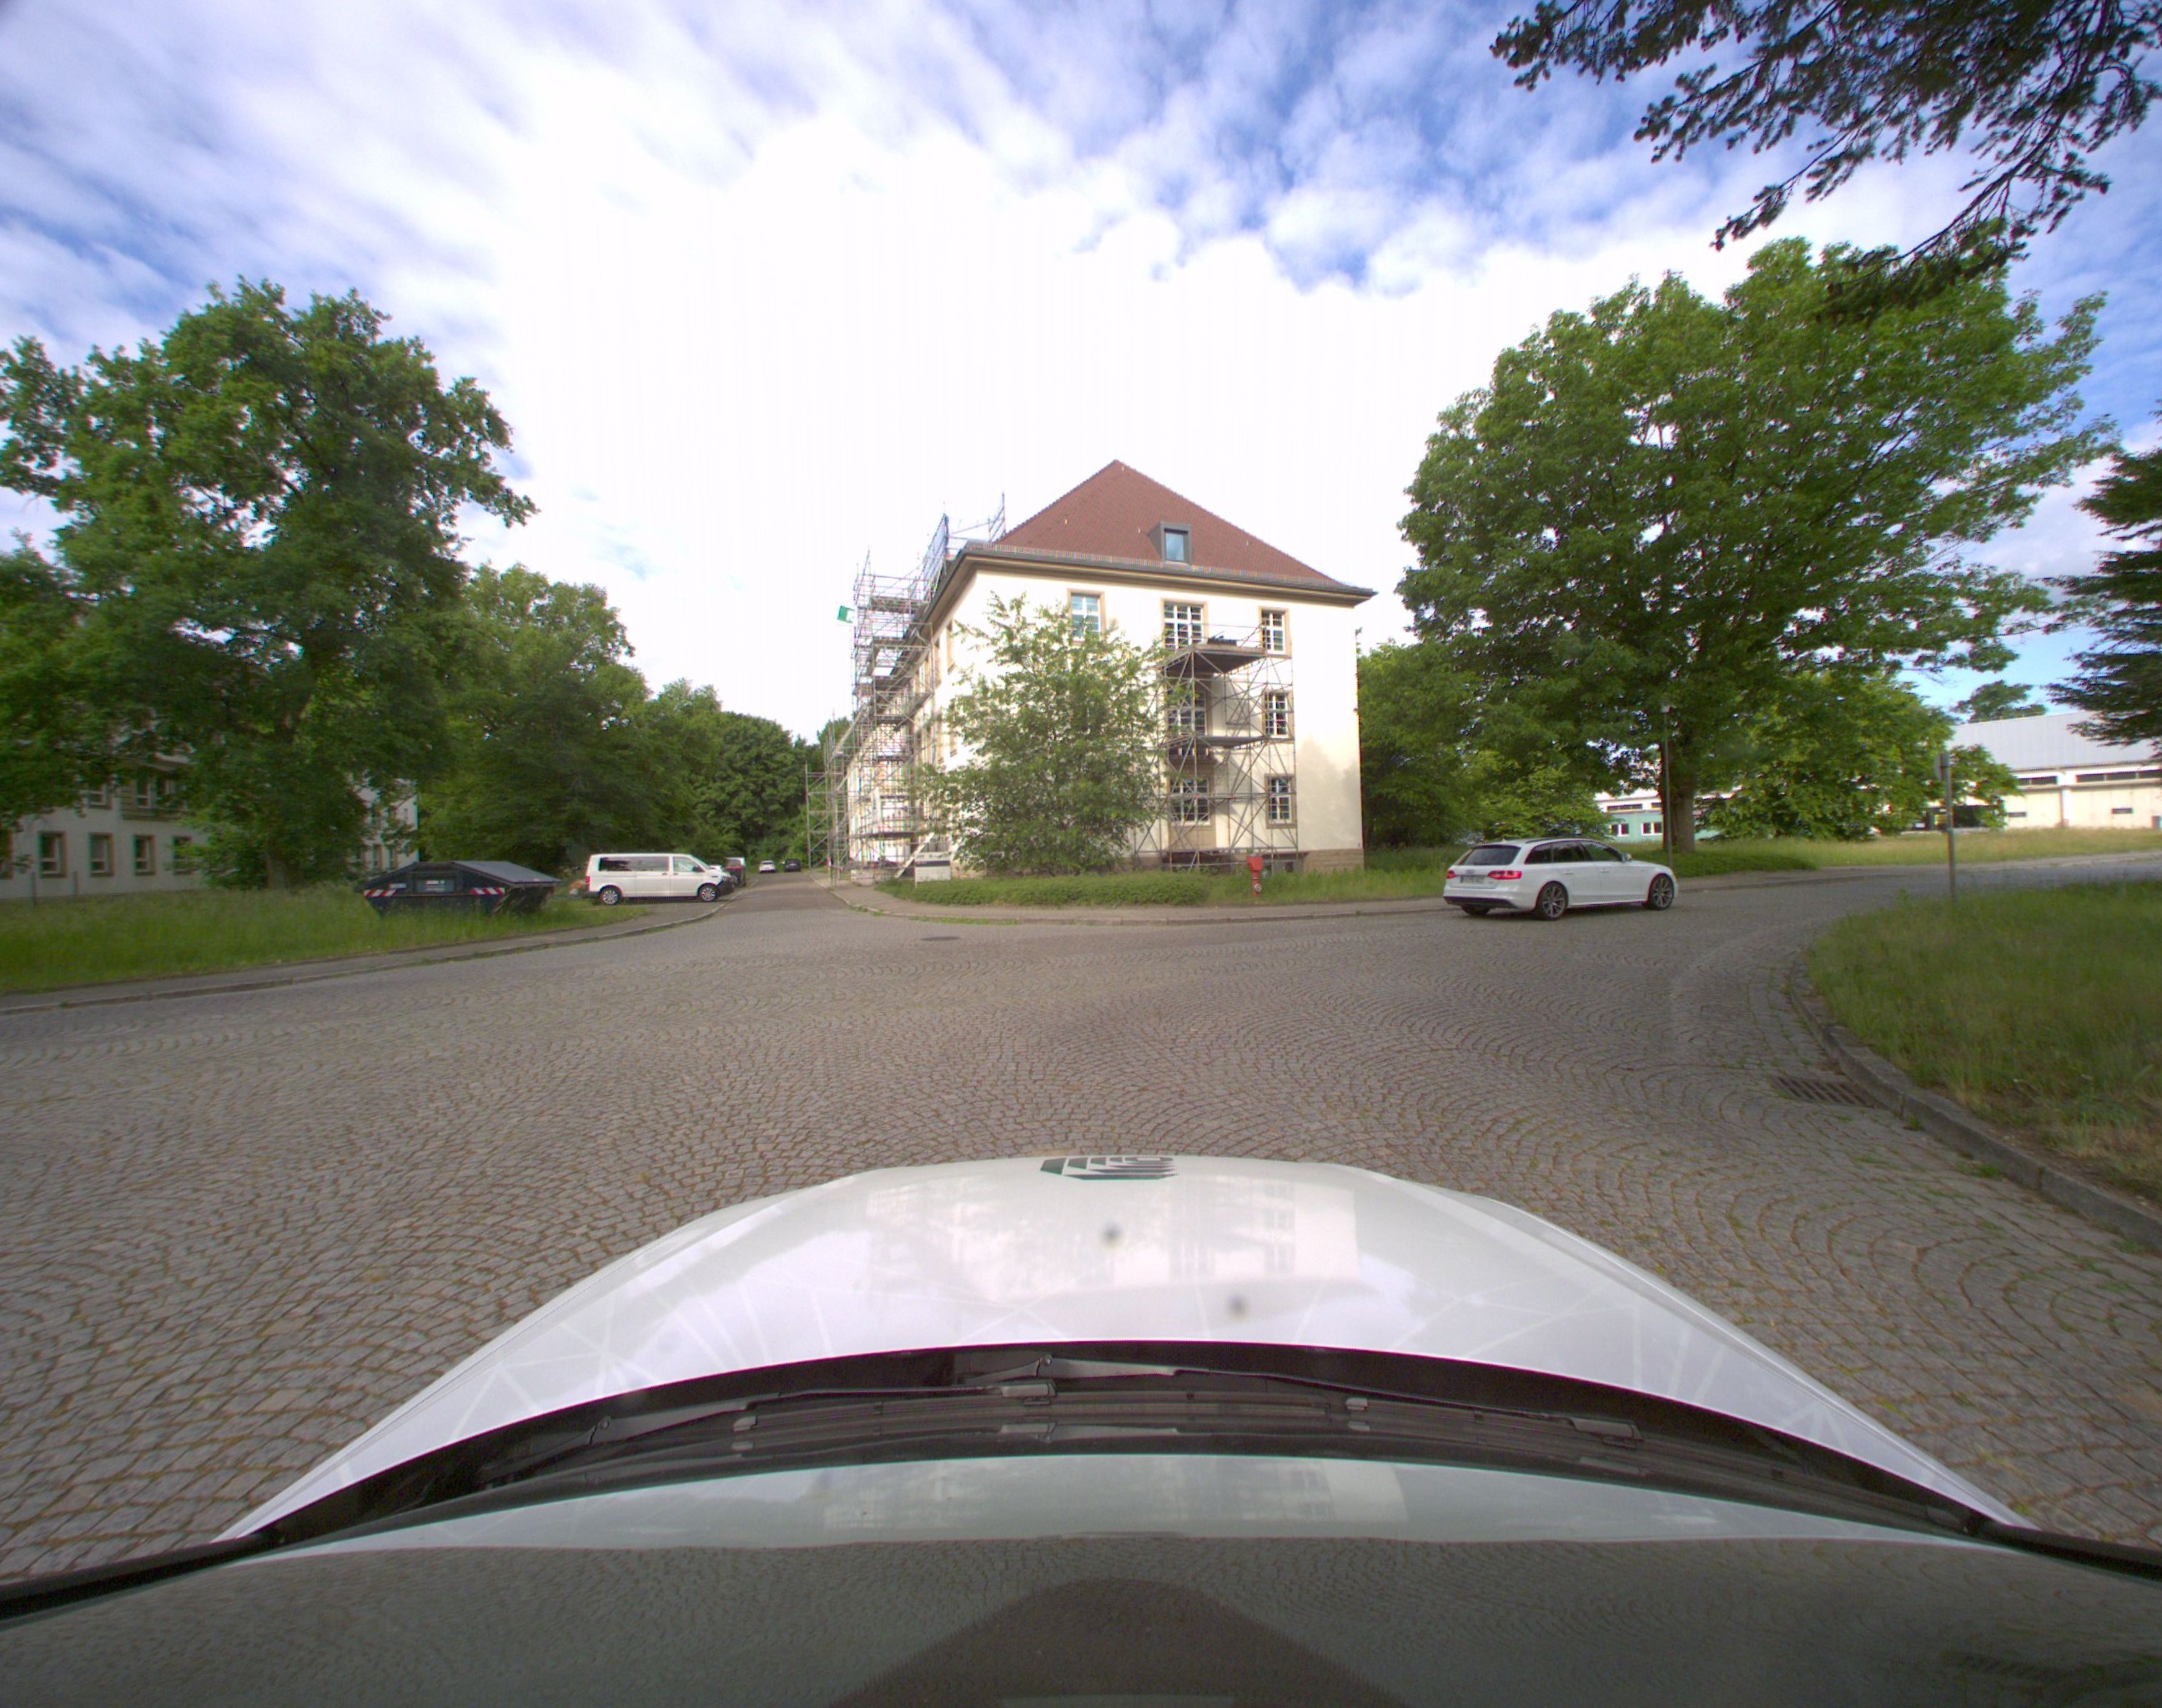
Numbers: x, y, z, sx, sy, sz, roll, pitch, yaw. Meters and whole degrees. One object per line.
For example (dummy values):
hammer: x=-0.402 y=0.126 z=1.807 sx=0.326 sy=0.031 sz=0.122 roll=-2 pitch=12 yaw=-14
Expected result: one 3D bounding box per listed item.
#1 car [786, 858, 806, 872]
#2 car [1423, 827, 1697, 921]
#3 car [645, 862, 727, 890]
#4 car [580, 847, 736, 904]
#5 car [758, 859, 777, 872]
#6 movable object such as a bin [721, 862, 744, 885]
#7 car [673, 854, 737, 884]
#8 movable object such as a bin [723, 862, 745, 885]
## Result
car: x=-33.527 y=1.284 z=96.011 sx=2.068 sy=1.593 sz=3.976 roll=1 pitch=-1 yaw=-17
car: x=8.880 y=0.316 z=15.104 sx=4.708 sy=1.437 sz=1.841 roll=-2 pitch=-1 yaw=-21
car: x=-21.231 y=1.198 z=43.906 sx=3.631 sy=1.481 sz=1.813 roll=0 pitch=-2 yaw=-12
car: x=-16.488 y=0.818 z=32.132 sx=5.220 sy=2.060 sz=2.172 roll=-1 pitch=-1 yaw=-21
car: x=-36.445 y=1.345 z=94.624 sx=2.010 sy=1.548 sz=3.928 roll=1 pitch=-2 yaw=-23
movable object such as a bin: x=-21.329 y=1.191 z=49.858 sx=1.187 sy=1.407 sz=0.969 roll=1 pitch=-2 yaw=-20
car: x=-26.485 y=1.067 z=57.466 sx=4.005 sy=2.014 sz=1.906 roll=1 pitch=-2 yaw=-24
movable object such as a bin: x=-21.745 y=1.212 z=51.043 sx=1.187 sy=1.407 sz=0.969 roll=1 pitch=-2 yaw=-20
